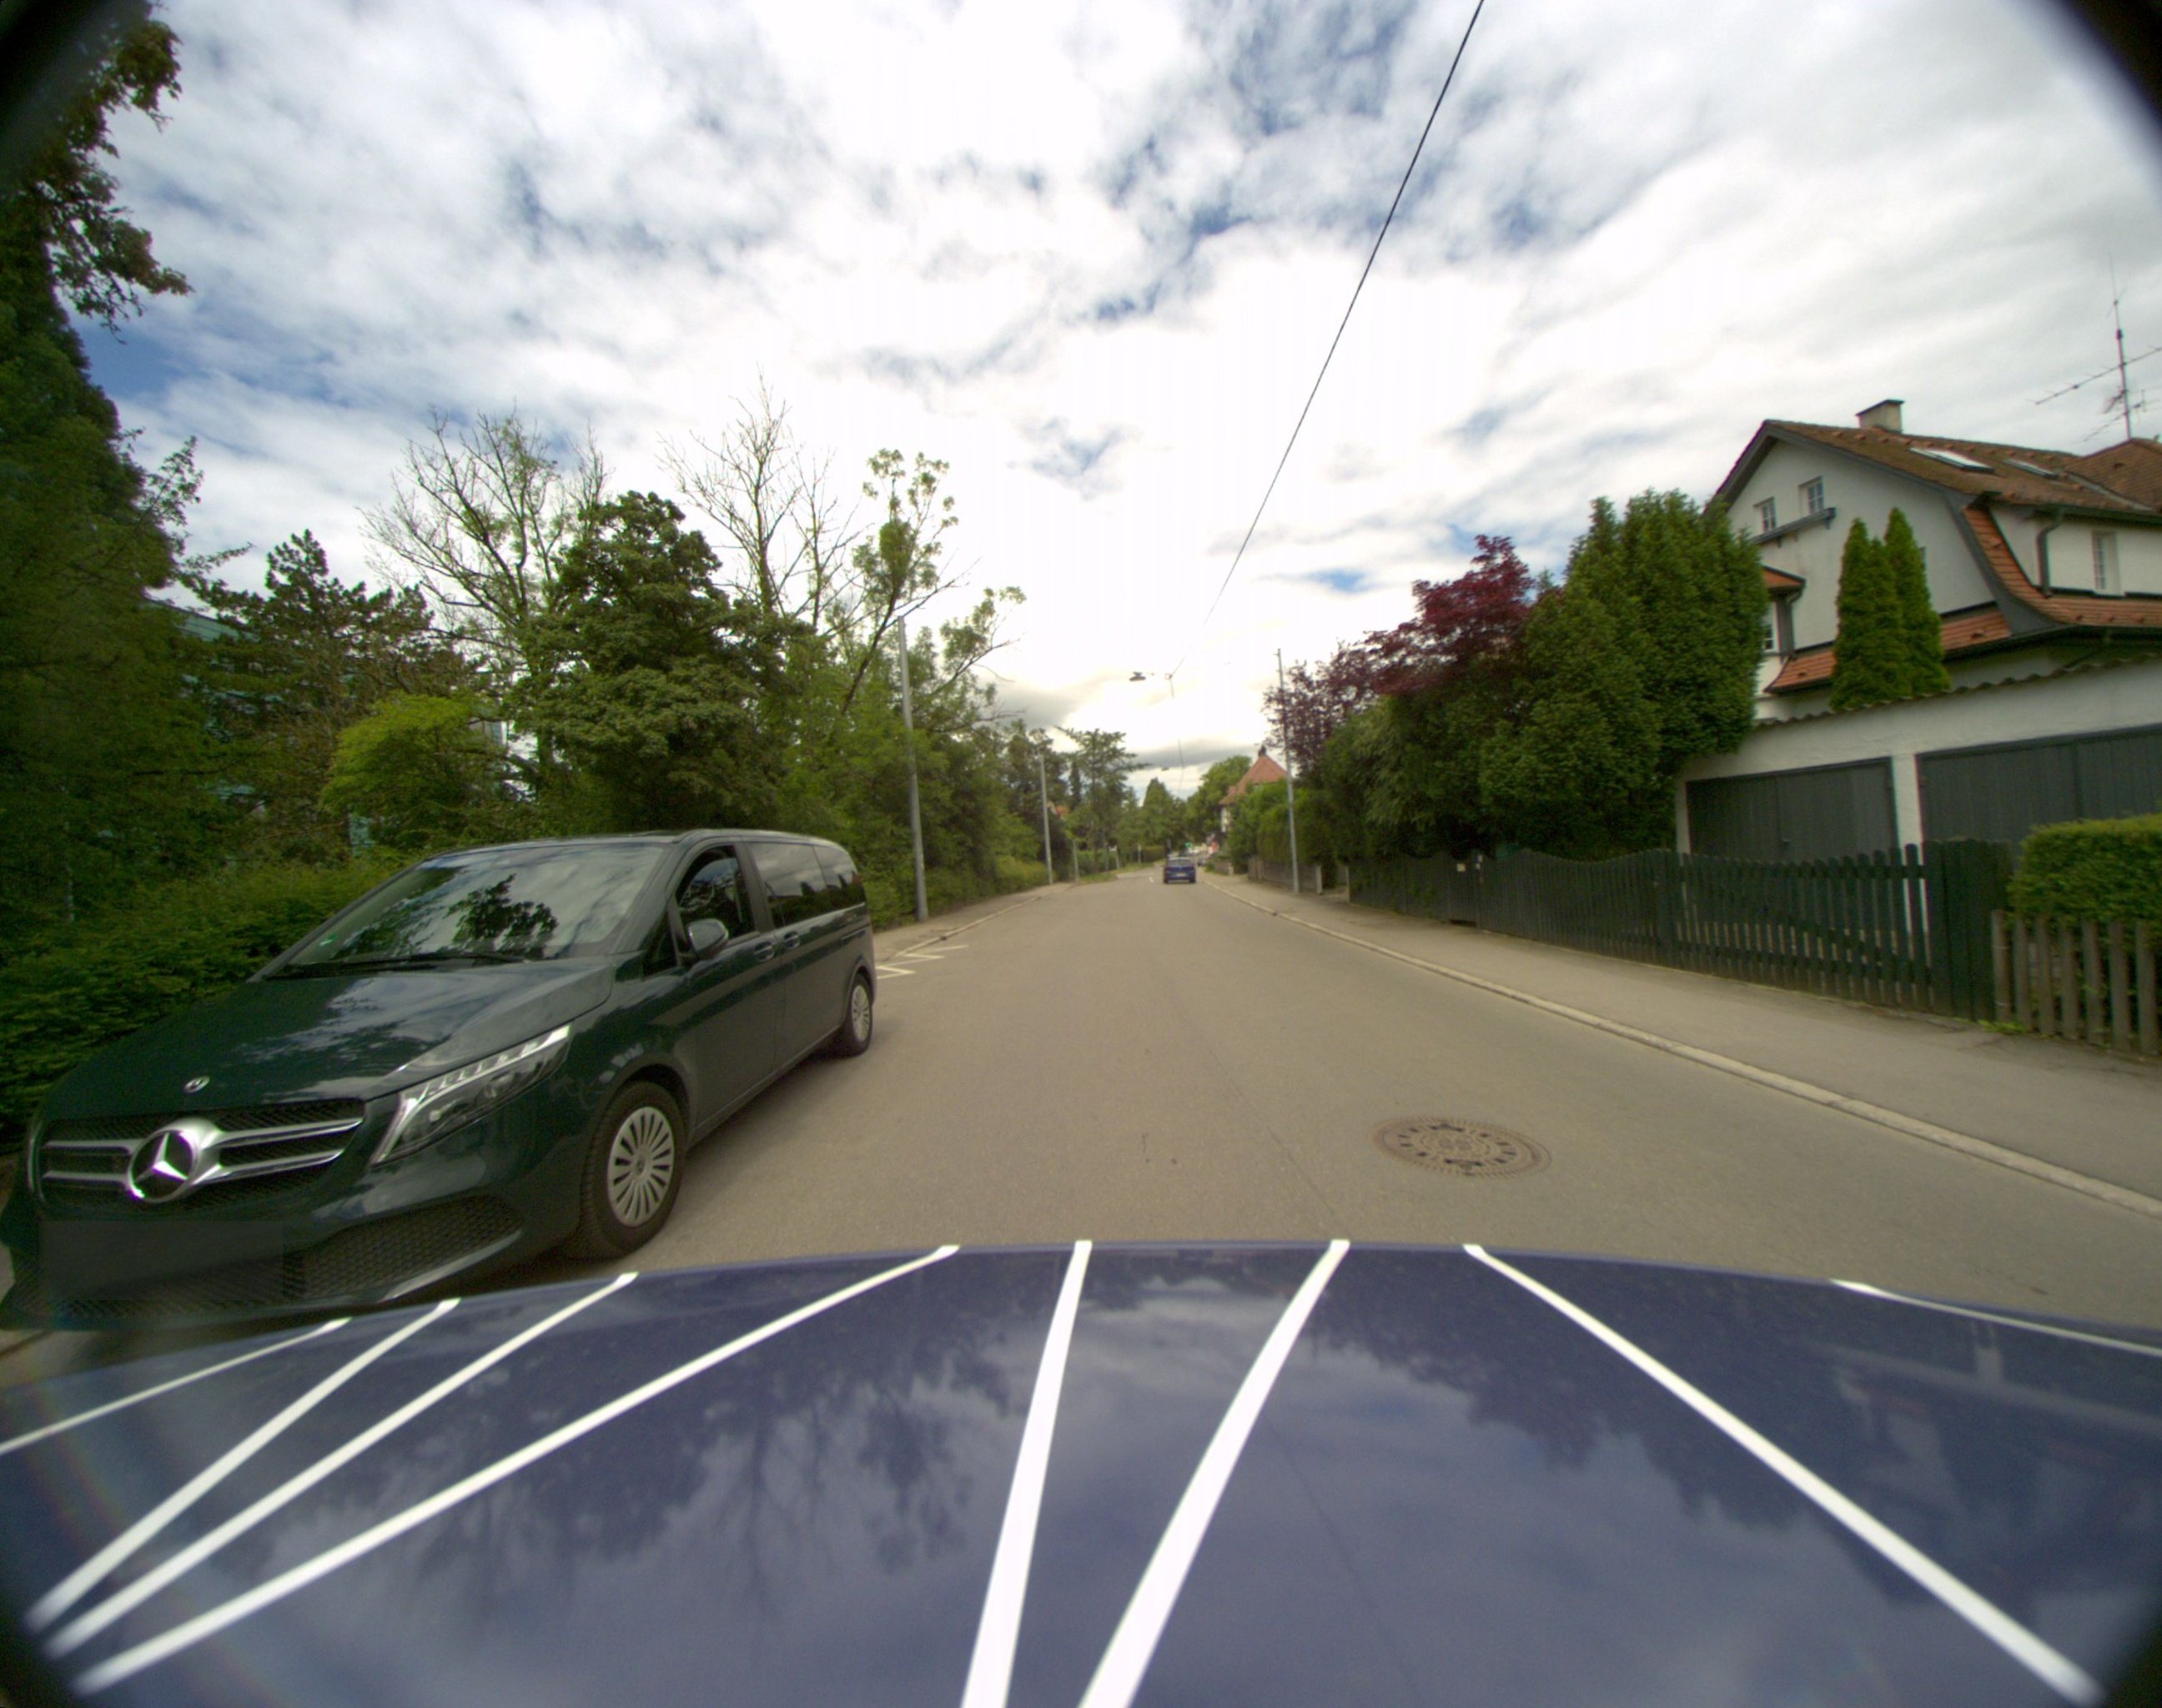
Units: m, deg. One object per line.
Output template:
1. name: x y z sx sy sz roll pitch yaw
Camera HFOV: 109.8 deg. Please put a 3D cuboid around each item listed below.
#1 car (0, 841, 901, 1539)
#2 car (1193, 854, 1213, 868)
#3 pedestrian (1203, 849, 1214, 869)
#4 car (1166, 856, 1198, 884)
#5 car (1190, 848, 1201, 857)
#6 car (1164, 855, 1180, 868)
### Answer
1. car: -2.767 0.943 4.650 1.914 1.837 5.158 -4 0 1
2. car: 14.364 0.810 89.452 1.821 1.343 3.395 -5 0 17
3. pedestrian: 11.496 0.449 68.376 0.821 1.734 0.604 -5 1 7
4. car: 5.677 0.876 42.925 1.697 1.423 3.929 -2 0 7
5. car: 24.749 -0.330 163.882 1.998 1.686 4.001 -5 0 6
6. car: 11.912 0.914 99.859 1.844 1.646 4.139 -1 0 4
